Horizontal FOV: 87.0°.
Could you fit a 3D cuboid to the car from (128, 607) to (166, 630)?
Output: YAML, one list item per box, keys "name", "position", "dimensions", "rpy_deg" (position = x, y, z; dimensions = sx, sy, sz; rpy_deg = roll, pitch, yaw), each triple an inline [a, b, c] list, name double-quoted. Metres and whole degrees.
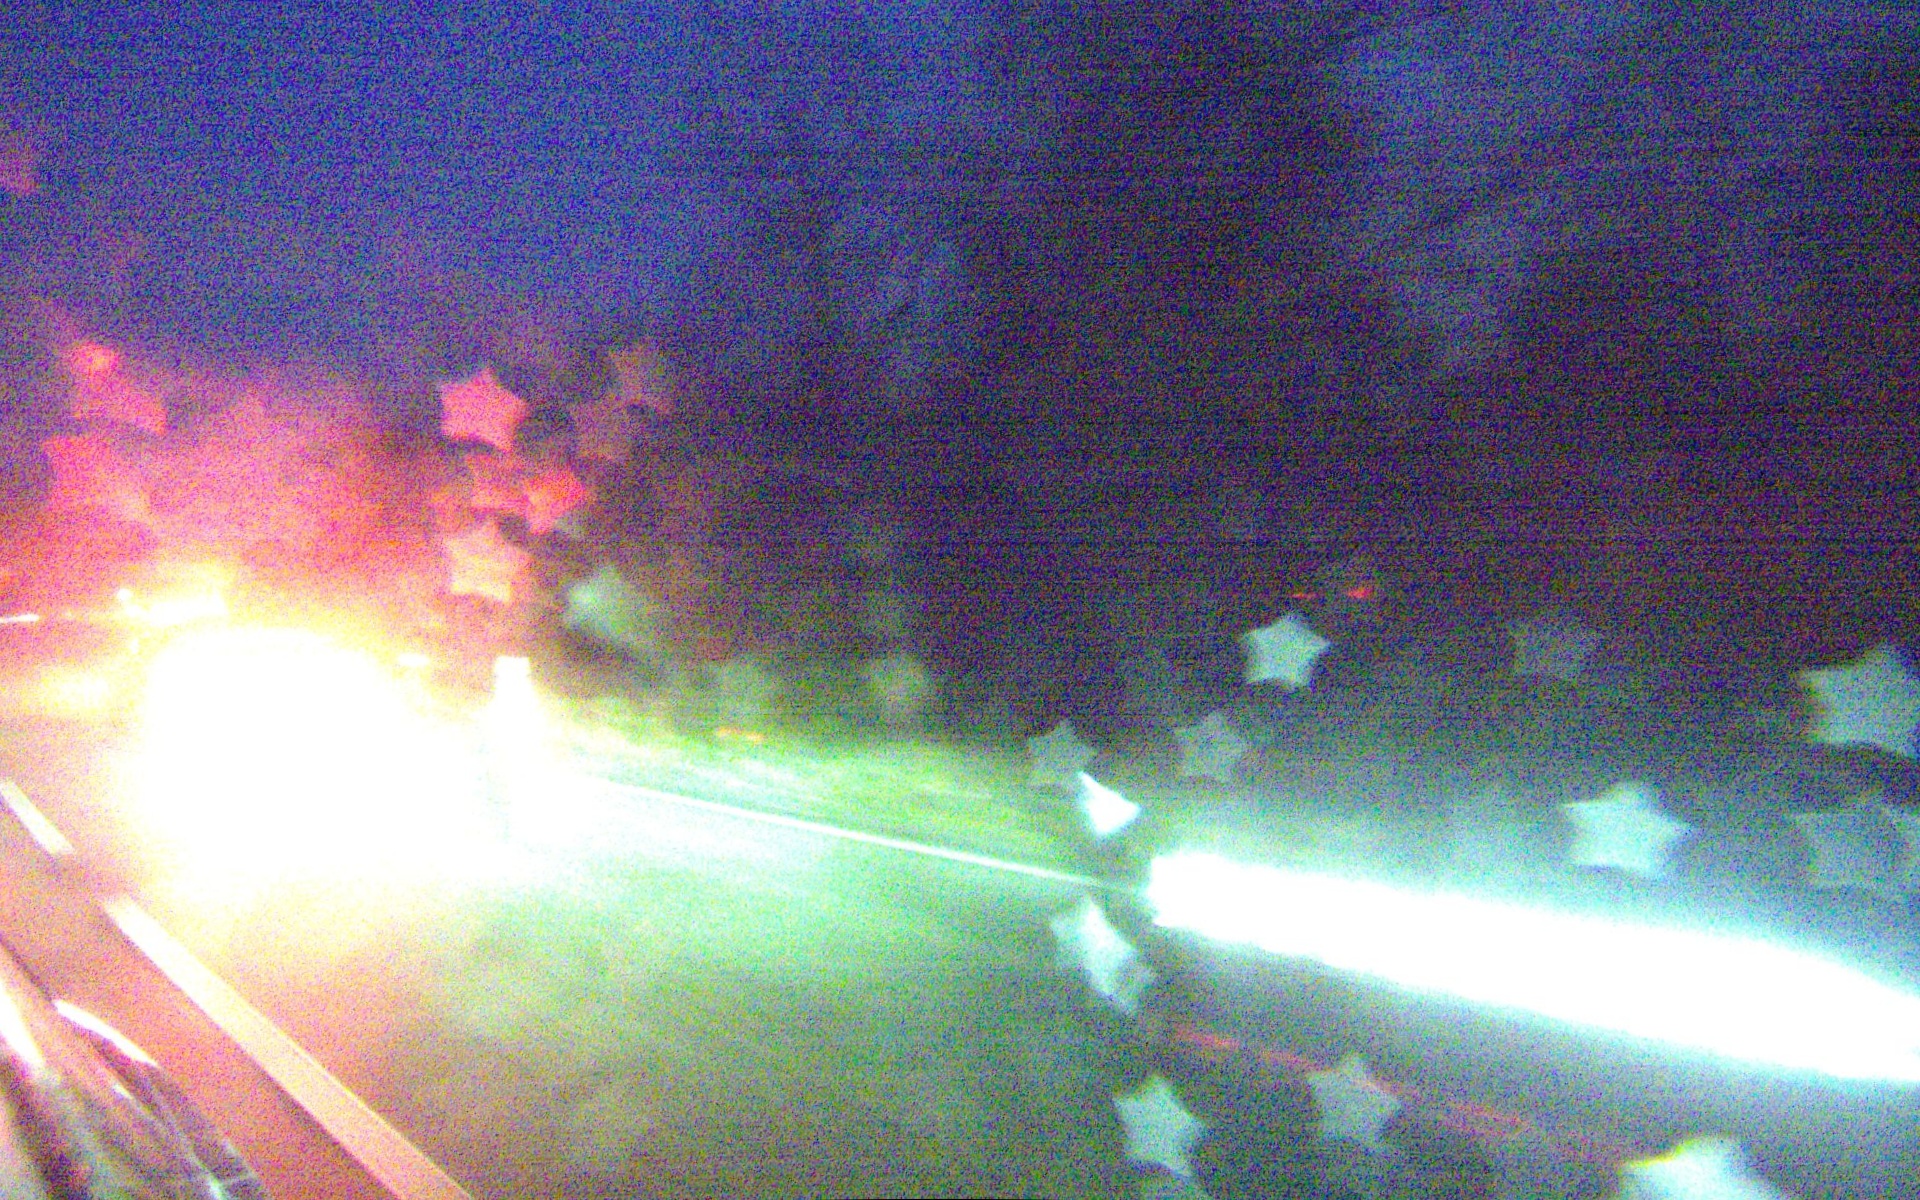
- name: "car"
  position: [-64.619, 1.471, 80.462]
  dimensions: [1.967, 1.721, 4.997]
  rpy_deg: [2, -1, -35]

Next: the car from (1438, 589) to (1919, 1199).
- name: "car"
  position: [3.192, 0.664, 1.596]
  dimensions: [4.109, 1.399, 1.753]
  rpy_deg: [-1, 0, 40]

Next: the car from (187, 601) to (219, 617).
- name: "car"
  position: [-80.236, 0.918, 107.292]
  dimensions: [1.903, 1.596, 5.000]
  rpy_deg: [2, -1, -27]

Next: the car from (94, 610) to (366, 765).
- name: "car"
  position: [-8.808, 0.889, 12.063]
  dimensions: [4.380, 1.495, 1.752]
  rpy_deg: [-1, 0, 42]
